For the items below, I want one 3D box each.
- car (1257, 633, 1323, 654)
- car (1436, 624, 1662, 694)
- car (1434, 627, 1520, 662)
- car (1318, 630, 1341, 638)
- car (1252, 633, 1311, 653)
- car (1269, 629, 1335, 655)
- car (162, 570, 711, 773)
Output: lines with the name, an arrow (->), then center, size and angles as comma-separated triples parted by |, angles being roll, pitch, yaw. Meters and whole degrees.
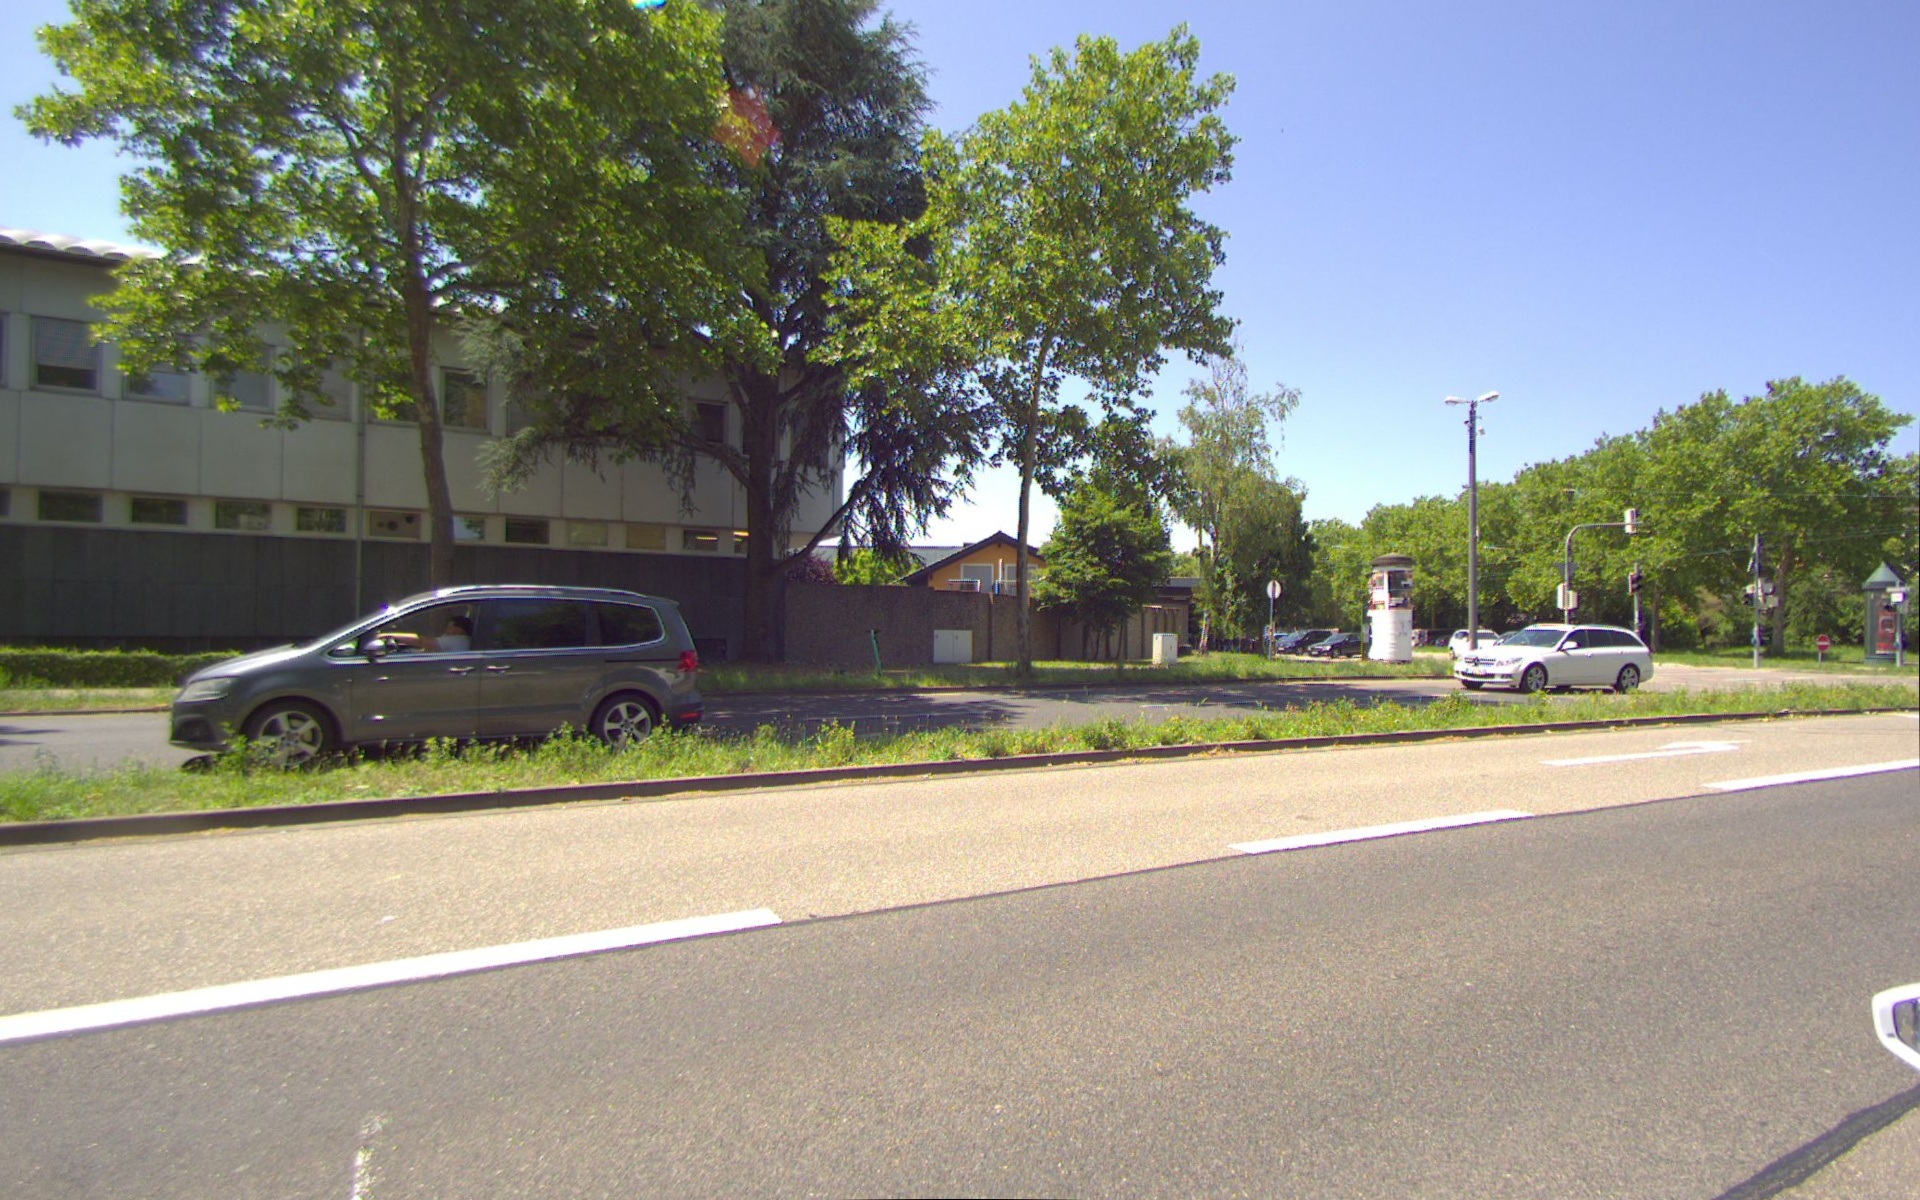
car -> 23.111, 3.033, 70.259 | 4.330, 1.430, 1.866 | 1, -2, -26
car -> 13.049, 1.272, 22.295 | 4.475, 1.437, 1.852 | 1, -1, -18
car -> 25.838, 2.205, 50.413 | 2.172, 1.626, 4.463 | 0, -1, 2
car -> 49.798, 4.557, 135.310 | 2.667, 1.007, 1.009 | 1, -1, -1
car -> 24.351, 3.253, 76.150 | 4.004, 1.442, 1.936 | 1, -2, -24
car -> 22.727, 2.784, 66.797 | 4.138, 1.672, 1.773 | 1, -2, -26
car -> -5.089, 0.652, 10.315 | 4.567, 1.678, 1.940 | 1, -2, -30
